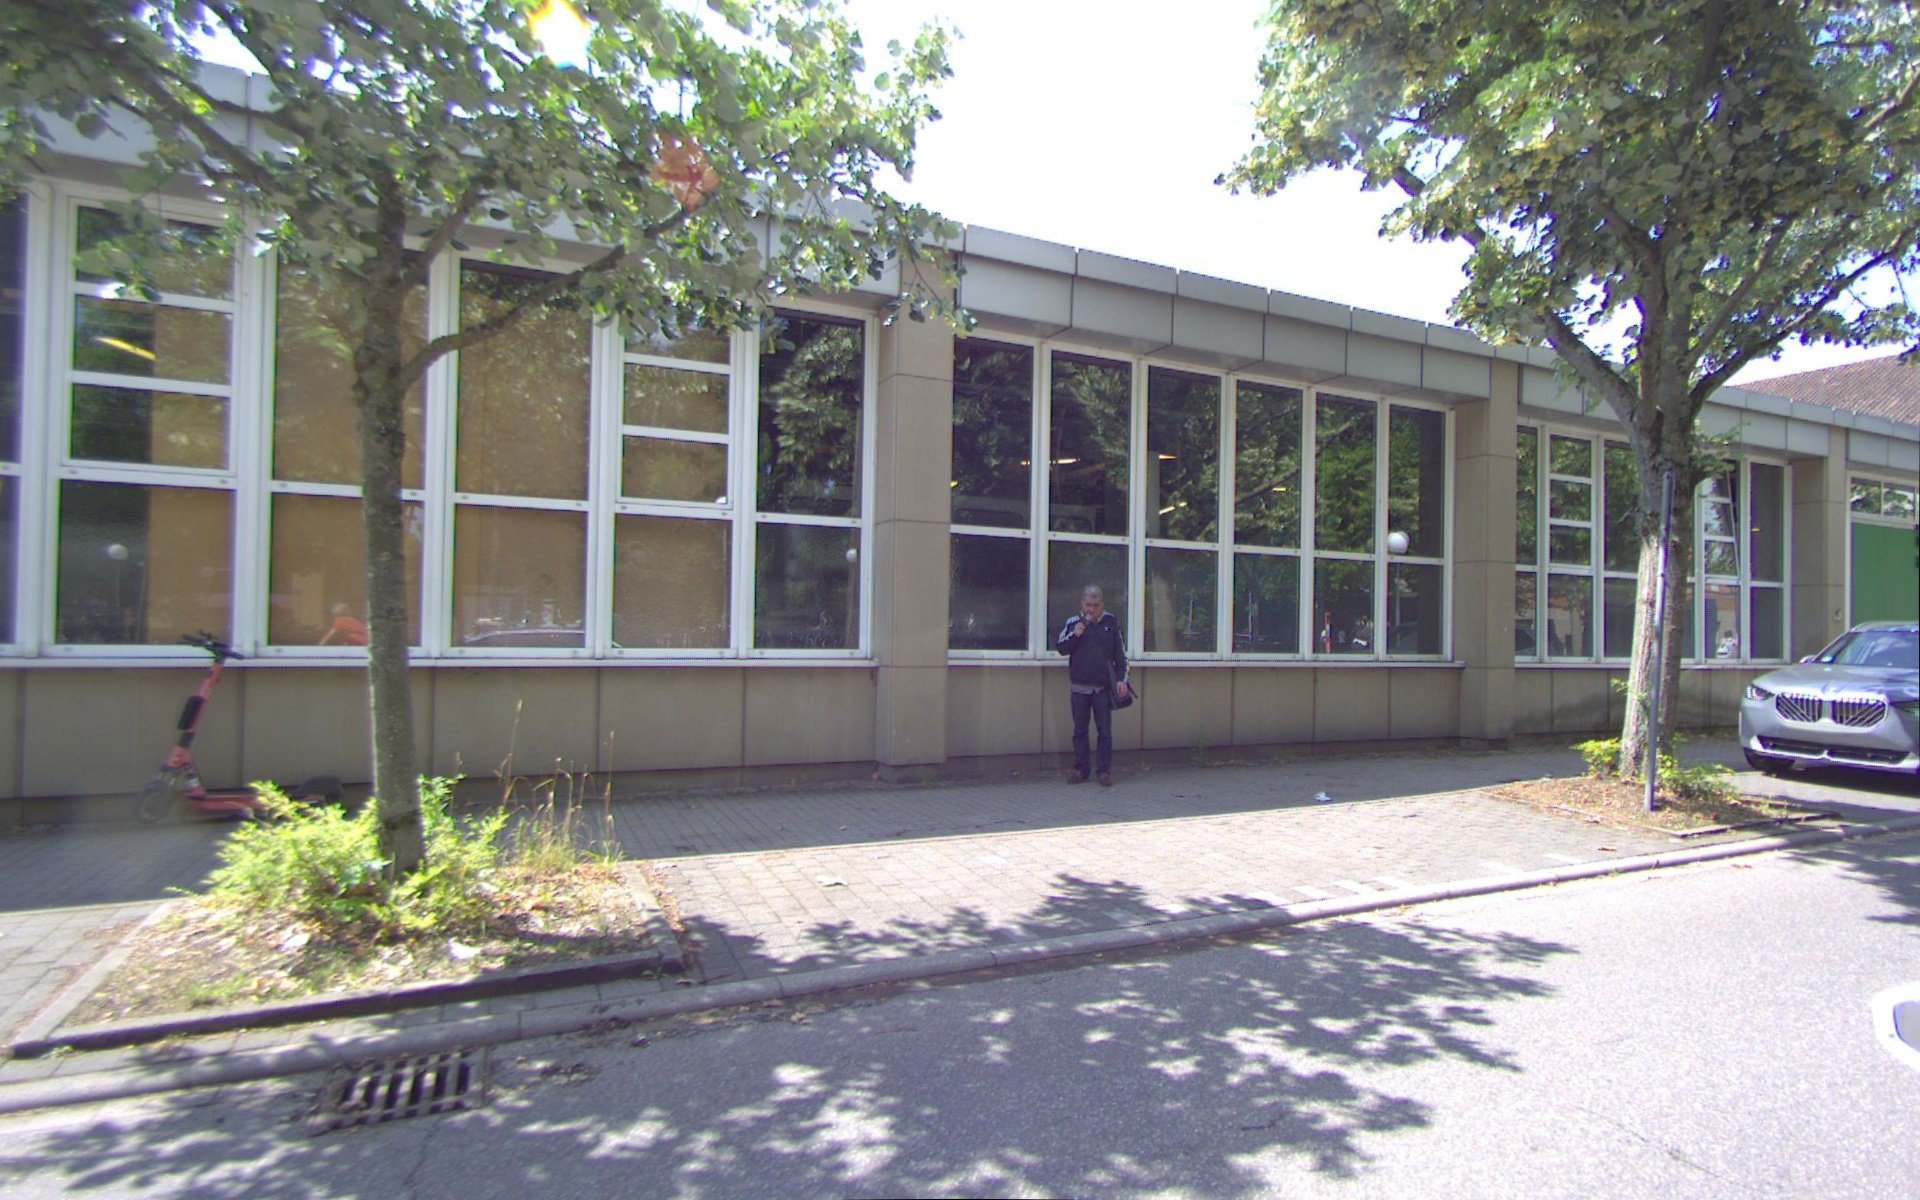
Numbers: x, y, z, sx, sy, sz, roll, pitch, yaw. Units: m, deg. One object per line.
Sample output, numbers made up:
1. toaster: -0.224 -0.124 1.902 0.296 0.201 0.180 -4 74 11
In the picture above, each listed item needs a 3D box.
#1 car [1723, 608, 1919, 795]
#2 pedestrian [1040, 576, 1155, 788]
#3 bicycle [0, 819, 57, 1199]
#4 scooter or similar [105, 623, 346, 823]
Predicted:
1. car: 10.369 0.995 10.712 4.460 1.654 1.814 2 0 -28
2. pedestrian: 1.234 0.704 9.063 0.779 1.811 0.666 0 1 -24
3. bicycle: -2.437 0.865 1.117 1.908 1.055 0.812 6 -3 -29
4. scooter or similar: -4.812 0.772 6.653 1.229 1.223 0.381 1 1 -26
